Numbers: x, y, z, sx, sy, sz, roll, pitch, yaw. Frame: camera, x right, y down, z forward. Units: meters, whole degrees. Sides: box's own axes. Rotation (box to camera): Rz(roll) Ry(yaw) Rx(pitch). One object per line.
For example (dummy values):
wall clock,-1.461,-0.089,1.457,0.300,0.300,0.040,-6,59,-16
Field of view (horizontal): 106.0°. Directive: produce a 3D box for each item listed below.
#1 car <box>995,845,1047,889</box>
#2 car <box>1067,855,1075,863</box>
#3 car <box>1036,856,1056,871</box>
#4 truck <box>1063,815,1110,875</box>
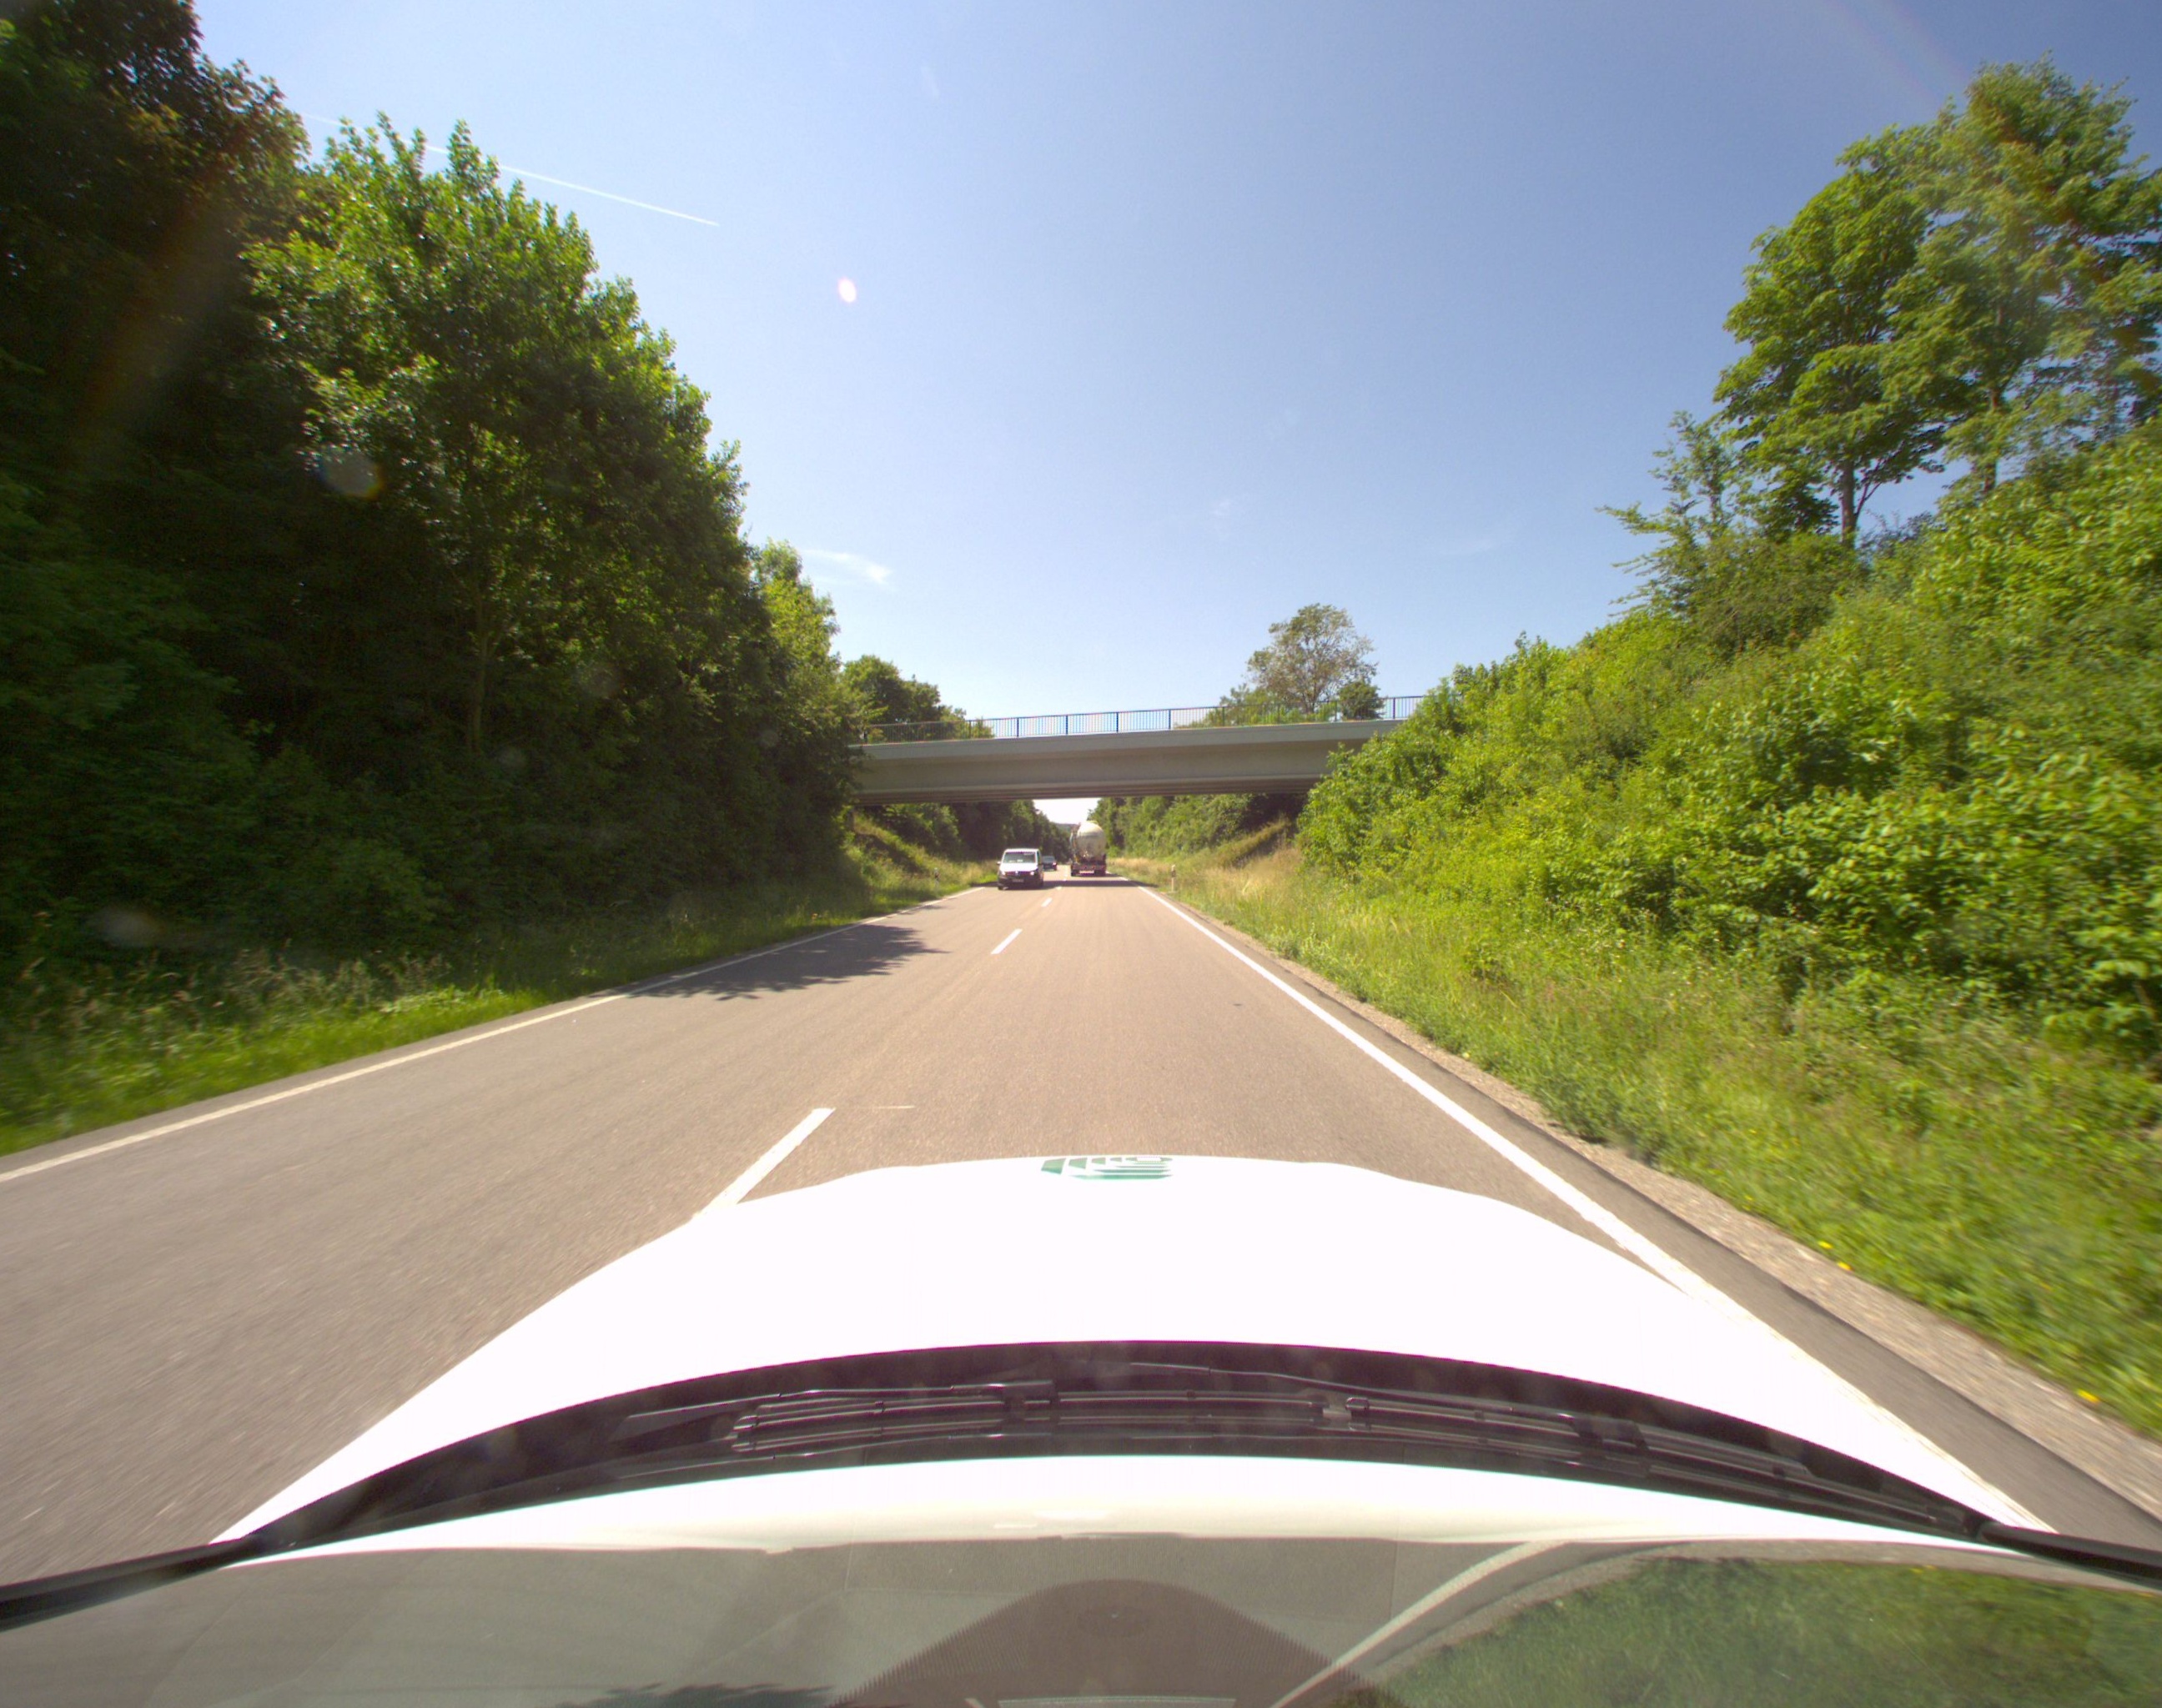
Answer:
car,-2.748,0.576,38.262,1.925,1.905,5.328,-1,0,1
car,-2.673,1.225,211.308,1.988,2.013,3.998,0,0,-1
car,-3.714,0.954,86.766,1.853,1.505,4.586,-1,0,0
truck,0.331,-0.467,63.479,3.040,3.998,15.630,2,-1,0
